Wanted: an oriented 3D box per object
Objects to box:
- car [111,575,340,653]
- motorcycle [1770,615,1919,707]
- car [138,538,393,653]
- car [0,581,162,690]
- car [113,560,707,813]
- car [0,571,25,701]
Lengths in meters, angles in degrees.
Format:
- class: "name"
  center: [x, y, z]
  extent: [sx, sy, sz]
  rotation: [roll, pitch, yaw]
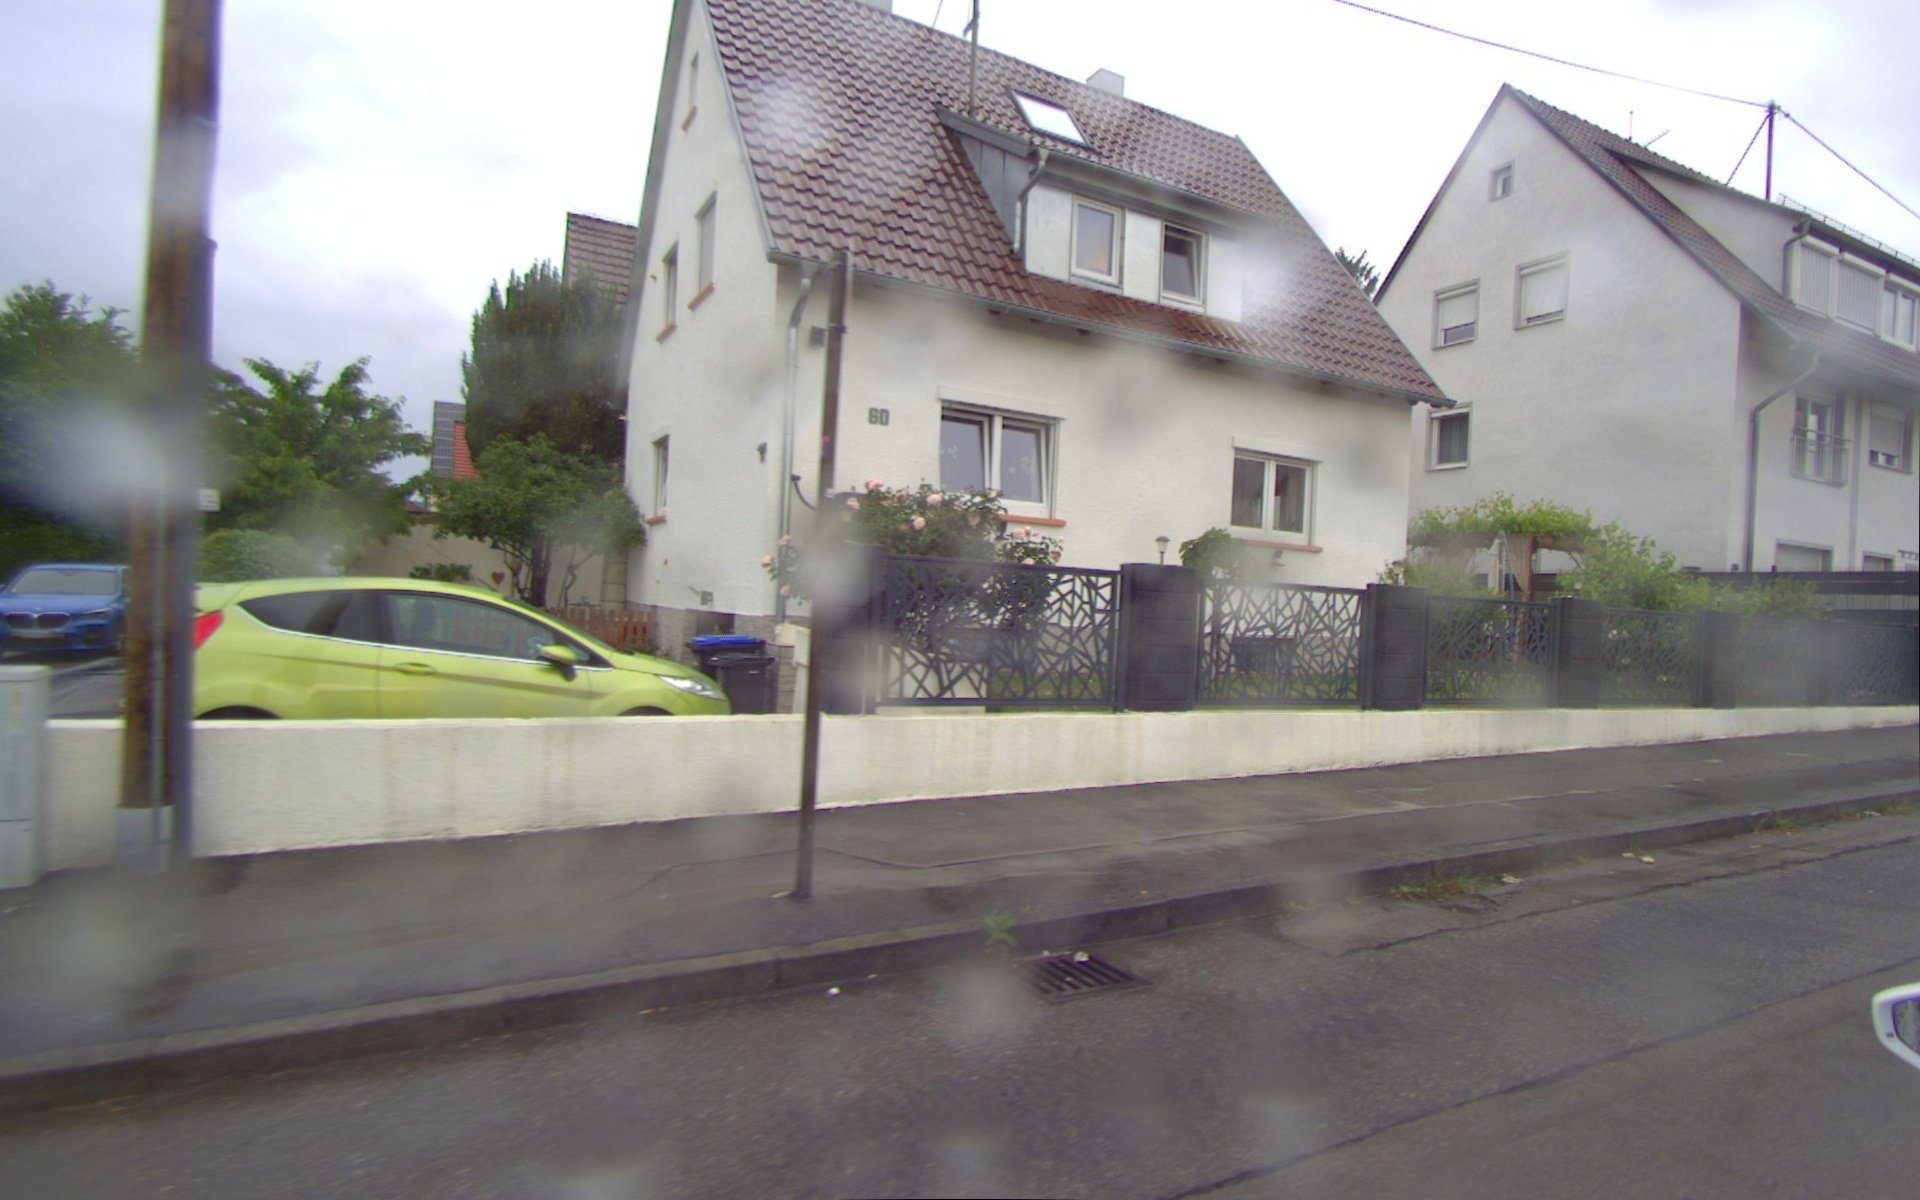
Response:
- class: "car"
  center: [-16.459, 0.280, 22.791]
  extent: [3.882, 1.598, 2.008]
  rotation: [0, 2, -28]
- class: "motorcycle"
  center: [15.081, 0.997, 16.689]
  extent: [0.726, 1.290, 2.354]
  rotation: [2, 3, -26]
- class: "car"
  center: [-13.455, -0.084, 19.792]
  extent: [3.884, 2.041, 1.999]
  rotation: [2, 2, -29]
- class: "car"
  center: [-15.520, 0.517, 17.374]
  extent: [1.901, 1.596, 3.985]
  rotation: [0, 2, -27]
- class: "car"
  center: [-3.809, 0.554, 7.460]
  extent: [3.413, 1.486, 1.772]
  rotation: [3, 0, -27]
- class: "car"
  center: [-11.311, 0.456, 10.065]
  extent: [1.761, 1.487, 3.830]
  rotation: [0, 2, -26]
